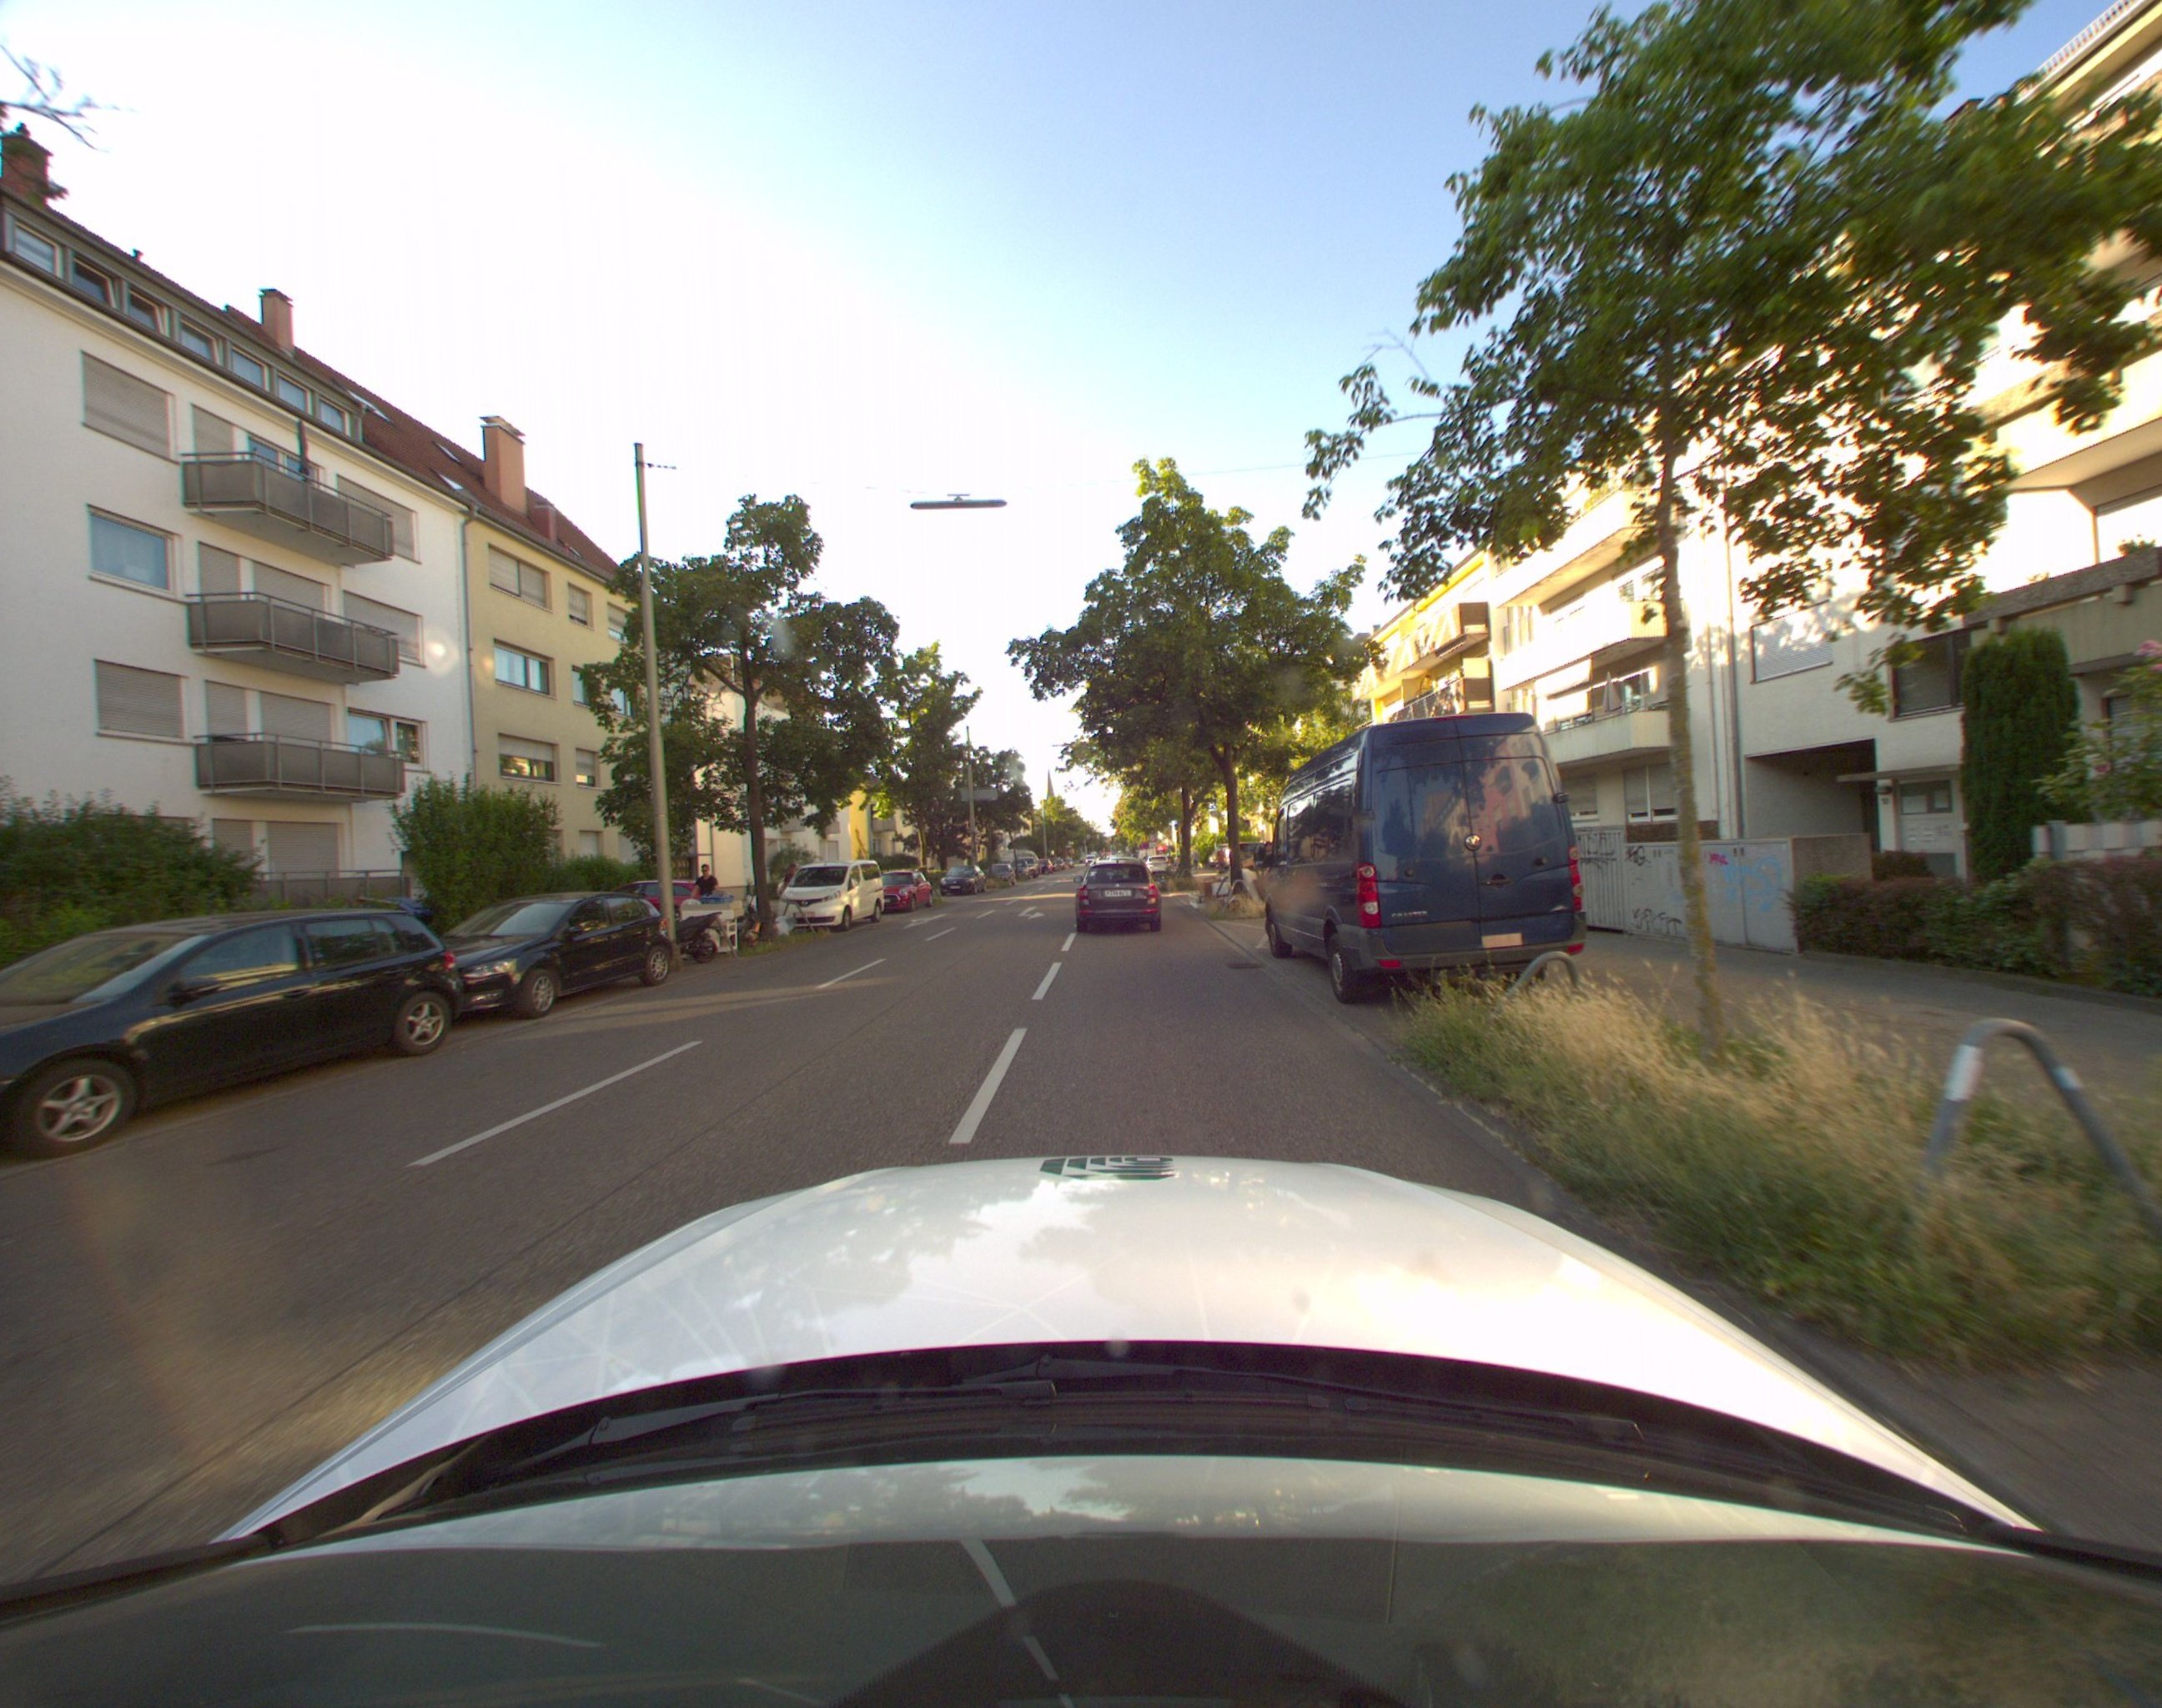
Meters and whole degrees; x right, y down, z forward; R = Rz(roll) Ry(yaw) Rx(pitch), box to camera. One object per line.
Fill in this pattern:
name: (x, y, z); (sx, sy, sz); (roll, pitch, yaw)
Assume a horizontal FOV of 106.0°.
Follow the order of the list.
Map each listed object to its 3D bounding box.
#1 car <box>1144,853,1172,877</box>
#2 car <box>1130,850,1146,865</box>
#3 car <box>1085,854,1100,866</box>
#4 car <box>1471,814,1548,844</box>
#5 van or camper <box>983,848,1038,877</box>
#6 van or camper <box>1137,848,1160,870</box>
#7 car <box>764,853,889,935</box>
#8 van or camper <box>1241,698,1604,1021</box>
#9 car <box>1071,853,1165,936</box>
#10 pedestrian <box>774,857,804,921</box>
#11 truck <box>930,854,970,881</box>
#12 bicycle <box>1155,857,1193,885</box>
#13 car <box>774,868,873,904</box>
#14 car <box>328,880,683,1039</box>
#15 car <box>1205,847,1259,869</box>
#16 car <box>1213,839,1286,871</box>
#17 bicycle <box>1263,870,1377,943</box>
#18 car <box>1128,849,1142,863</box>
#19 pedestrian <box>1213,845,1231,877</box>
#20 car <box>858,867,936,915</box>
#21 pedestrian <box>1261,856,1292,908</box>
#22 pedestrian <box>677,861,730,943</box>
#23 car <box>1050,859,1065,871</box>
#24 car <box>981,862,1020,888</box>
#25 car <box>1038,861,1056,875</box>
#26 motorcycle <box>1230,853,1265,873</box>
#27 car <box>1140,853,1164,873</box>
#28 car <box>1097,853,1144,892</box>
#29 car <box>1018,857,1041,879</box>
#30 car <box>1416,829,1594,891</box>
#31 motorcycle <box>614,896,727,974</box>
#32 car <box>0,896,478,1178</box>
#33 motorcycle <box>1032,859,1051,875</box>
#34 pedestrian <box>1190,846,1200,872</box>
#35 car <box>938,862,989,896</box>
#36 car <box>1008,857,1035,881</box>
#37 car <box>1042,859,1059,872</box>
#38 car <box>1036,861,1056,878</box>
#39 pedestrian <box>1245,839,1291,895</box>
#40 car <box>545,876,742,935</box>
car: (5.219, 0.724, 55.629); (1.813, 1.413, 4.116); (-3, 0, 4)
car: (7.164, 0.388, 102.817); (1.723, 1.815, 3.951); (-3, 0, 1)
car: (1.954, 0.976, 137.648); (1.866, 1.757, 4.189); (-3, 0, 9)
car: (23.423, -1.361, 44.624); (3.332, 1.418, 1.662); (-3, 0, 3)
van or camper: (-10.117, 1.210, 117.302); (7.615, 3.874, 2.000); (-3, 0, 0)
van or camper: (6.597, 0.472, 79.512); (1.986, 2.013, 4.003); (-3, 0, 2)
car: (-6.815, 0.989, 22.321); (1.763, 1.919, 4.462); (-3, 0, 2)
van or camper: (3.505, 0.075, 9.984); (2.059, 2.675, 5.993); (-3, -1, 3)
car: (0.835, 0.770, 17.521); (1.722, 1.493, 3.954); (-3, 0, 3)
pedestrian: (-9.391, 1.112, 26.175); (0.624, 2.013, 0.616); (-3, 0, 2)
truck: (-10.820, 1.104, 67.442); (2.902, 2.093, 1.547); (-3, 0, 1)
bicycle: (4.546, 0.840, 39.873); (1.658, 1.226, 0.638); (-5, 0, 15)
car: (-12.103, 1.477, 38.450); (3.976, 1.479, 1.999); (-2, 0, -2)
car: (-7.303, 1.228, 10.942); (1.743, 1.502, 3.981); (-3, 0, 2)
car: (11.759, 0.304, 63.449); (3.812, 1.525, 1.502); (-3, 0, -20)
car: (11.462, 0.084, 55.381); (4.556, 1.892, 1.898); (-3, 0, -26)
bicycle: (3.878, 0.856, 13.294); (1.693, 1.089, 0.405); (-3, 0, 5)
car: (7.664, 0.305, 115.307); (1.723, 1.815, 3.951); (-3, 0, 1)
pedestrian: (7.964, 0.389, 46.049); (0.754, 1.796, 0.905); (-3, 0, -3)
car: (-6.506, 1.268, 29.126); (1.710, 1.421, 3.789); (-3, 0, 2)
pedestrian: (4.984, 0.709, 20.744); (0.647, 1.254, 0.661); (-3, 0, 18)
pedestrian: (-9.616, 1.202, 20.771); (0.764, 2.013, 0.976); (-3, 0, 2)
car: (-3.093, 1.458, 107.382); (1.658, 1.432, 3.277); (-3, 0, 2)
car: (-5.179, 1.332, 52.881); (1.747, 1.420, 4.429); (-3, 0, 3)
car: (-3.805, 1.546, 91.530); (1.658, 1.432, 3.277); (-3, 0, 2)
motorcycle: (10.607, 0.571, 51.821); (2.046, 1.125, 0.525); (-3, 0, -3)
car: (5.569, 0.654, 64.113); (1.813, 1.413, 4.116); (-3, 0, 4)
car: (1.671, 0.767, 35.767); (1.725, 1.493, 3.948); (-3, 0, -1)
car: (-4.441, 1.167, 70.542); (1.501, 1.757, 3.696); (-3, 0, 2)
car: (11.680, 0.149, 22.601); (3.976, 1.462, 1.824); (-3, 0, -1)
motorcycle: (-7.297, 1.408, 14.539); (0.436, 1.192, 1.718); (-3, 0, 40)
car: (-7.412, 1.253, 6.587); (1.743, 1.502, 4.199); (-3, 0, 2)
motorcycle: (-3.906, 1.315, 80.793); (0.771, 1.512, 2.006); (-3, 0, -40)
pedestrian: (8.046, 0.376, 57.517); (0.532, 1.794, 0.688); (-3, 0, 4)
car: (-5.907, 1.213, 41.379); (1.710, 1.497, 4.250); (-3, 0, 2)
car: (-4.778, 1.188, 65.713); (1.743, 1.740, 3.593); (-3, 0, 2)
car: (-3.588, 1.363, 96.072); (1.658, 1.432, 3.277); (-3, 0, 2)
car: (-3.647, 1.609, 85.831); (1.658, 1.512, 4.181); (-3, 0, 2)
pedestrian: (5.119, 0.345, 22.293); (1.064, 1.476, 0.476); (-3, 0, -17)
car: (-12.886, 1.485, 24.298); (4.712, 1.362, 1.993); (-3, 0, -11)
